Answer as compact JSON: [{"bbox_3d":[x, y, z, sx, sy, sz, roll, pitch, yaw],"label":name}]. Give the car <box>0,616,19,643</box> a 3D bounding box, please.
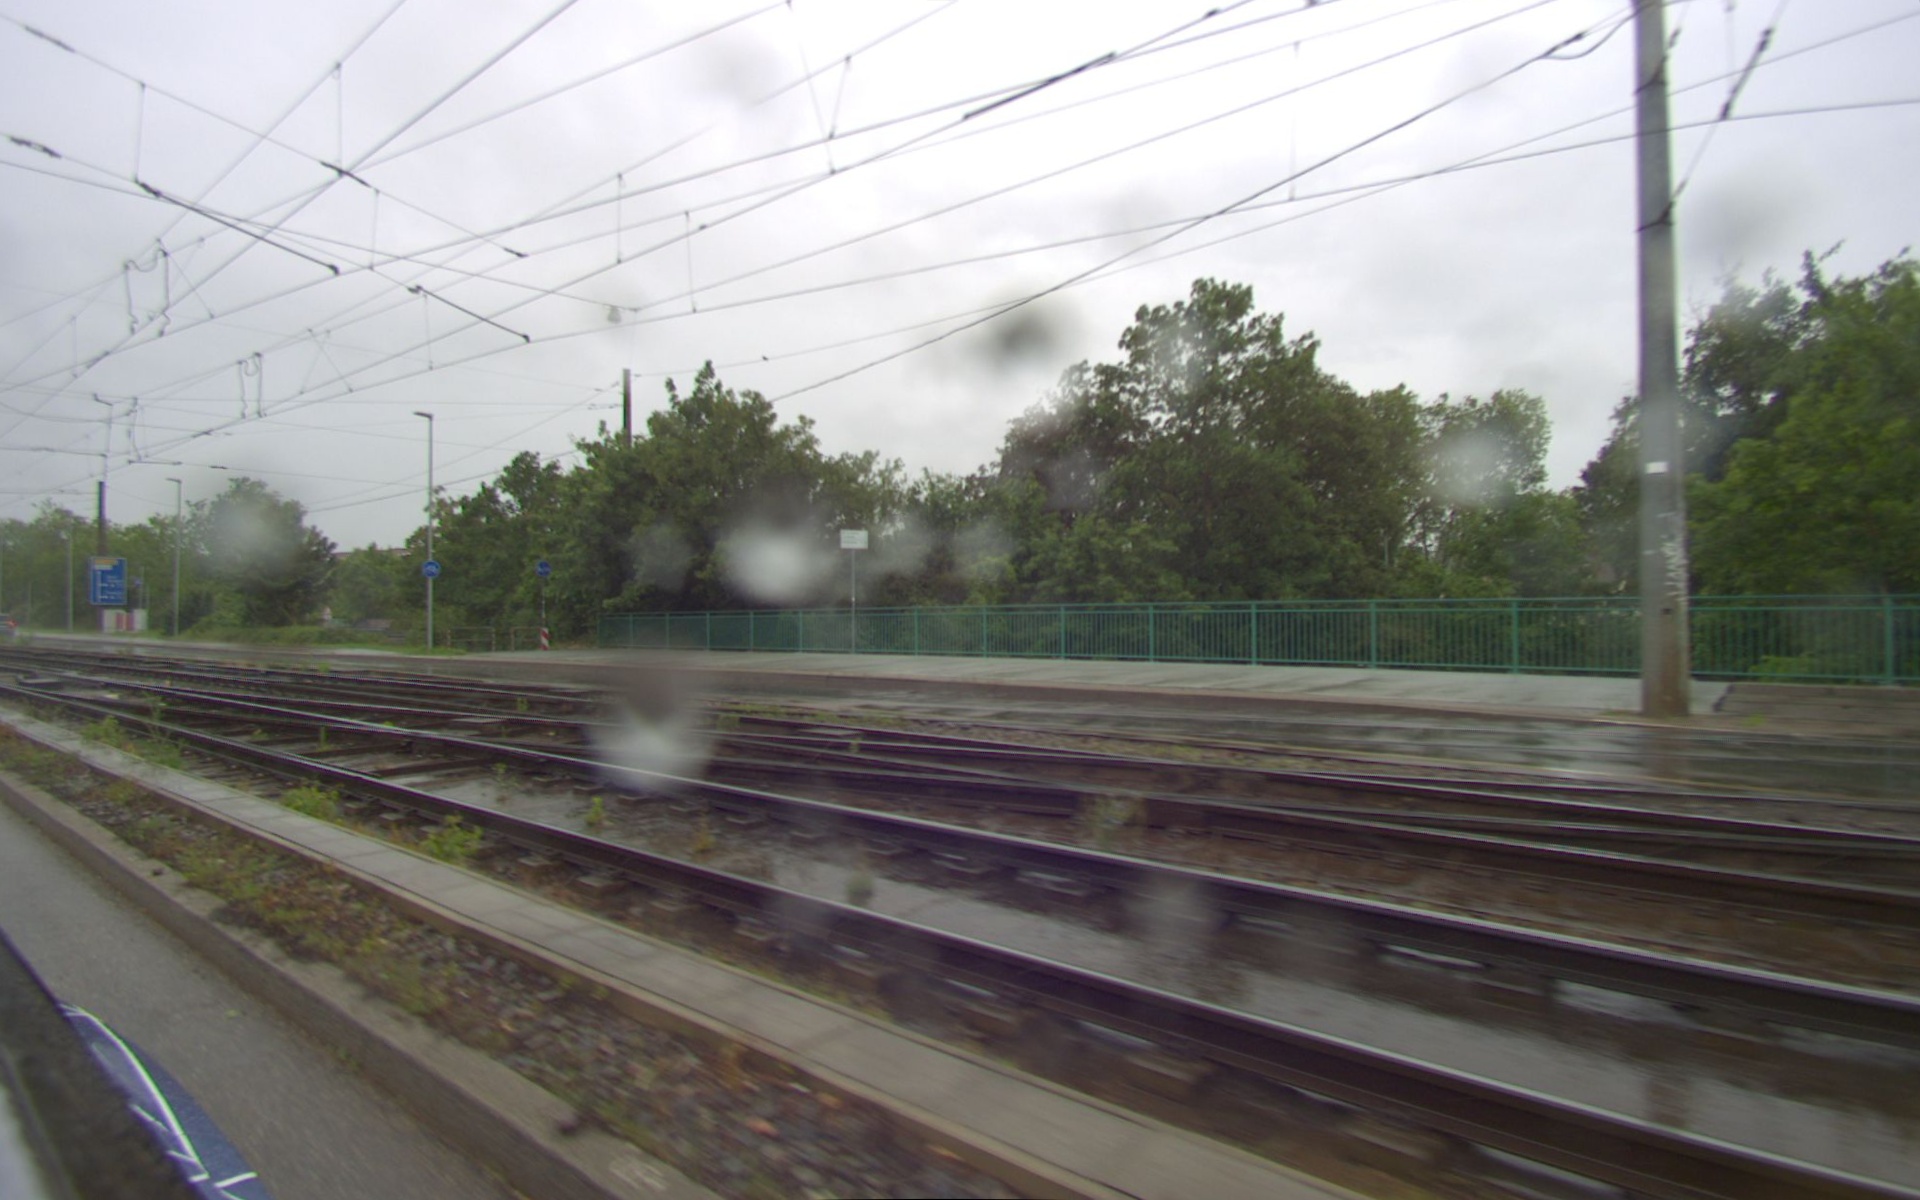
[{"bbox_3d":[-60.477,1.852,62.937,5.363,1.661,1.975,-1,1,37],"label":"car"}]
